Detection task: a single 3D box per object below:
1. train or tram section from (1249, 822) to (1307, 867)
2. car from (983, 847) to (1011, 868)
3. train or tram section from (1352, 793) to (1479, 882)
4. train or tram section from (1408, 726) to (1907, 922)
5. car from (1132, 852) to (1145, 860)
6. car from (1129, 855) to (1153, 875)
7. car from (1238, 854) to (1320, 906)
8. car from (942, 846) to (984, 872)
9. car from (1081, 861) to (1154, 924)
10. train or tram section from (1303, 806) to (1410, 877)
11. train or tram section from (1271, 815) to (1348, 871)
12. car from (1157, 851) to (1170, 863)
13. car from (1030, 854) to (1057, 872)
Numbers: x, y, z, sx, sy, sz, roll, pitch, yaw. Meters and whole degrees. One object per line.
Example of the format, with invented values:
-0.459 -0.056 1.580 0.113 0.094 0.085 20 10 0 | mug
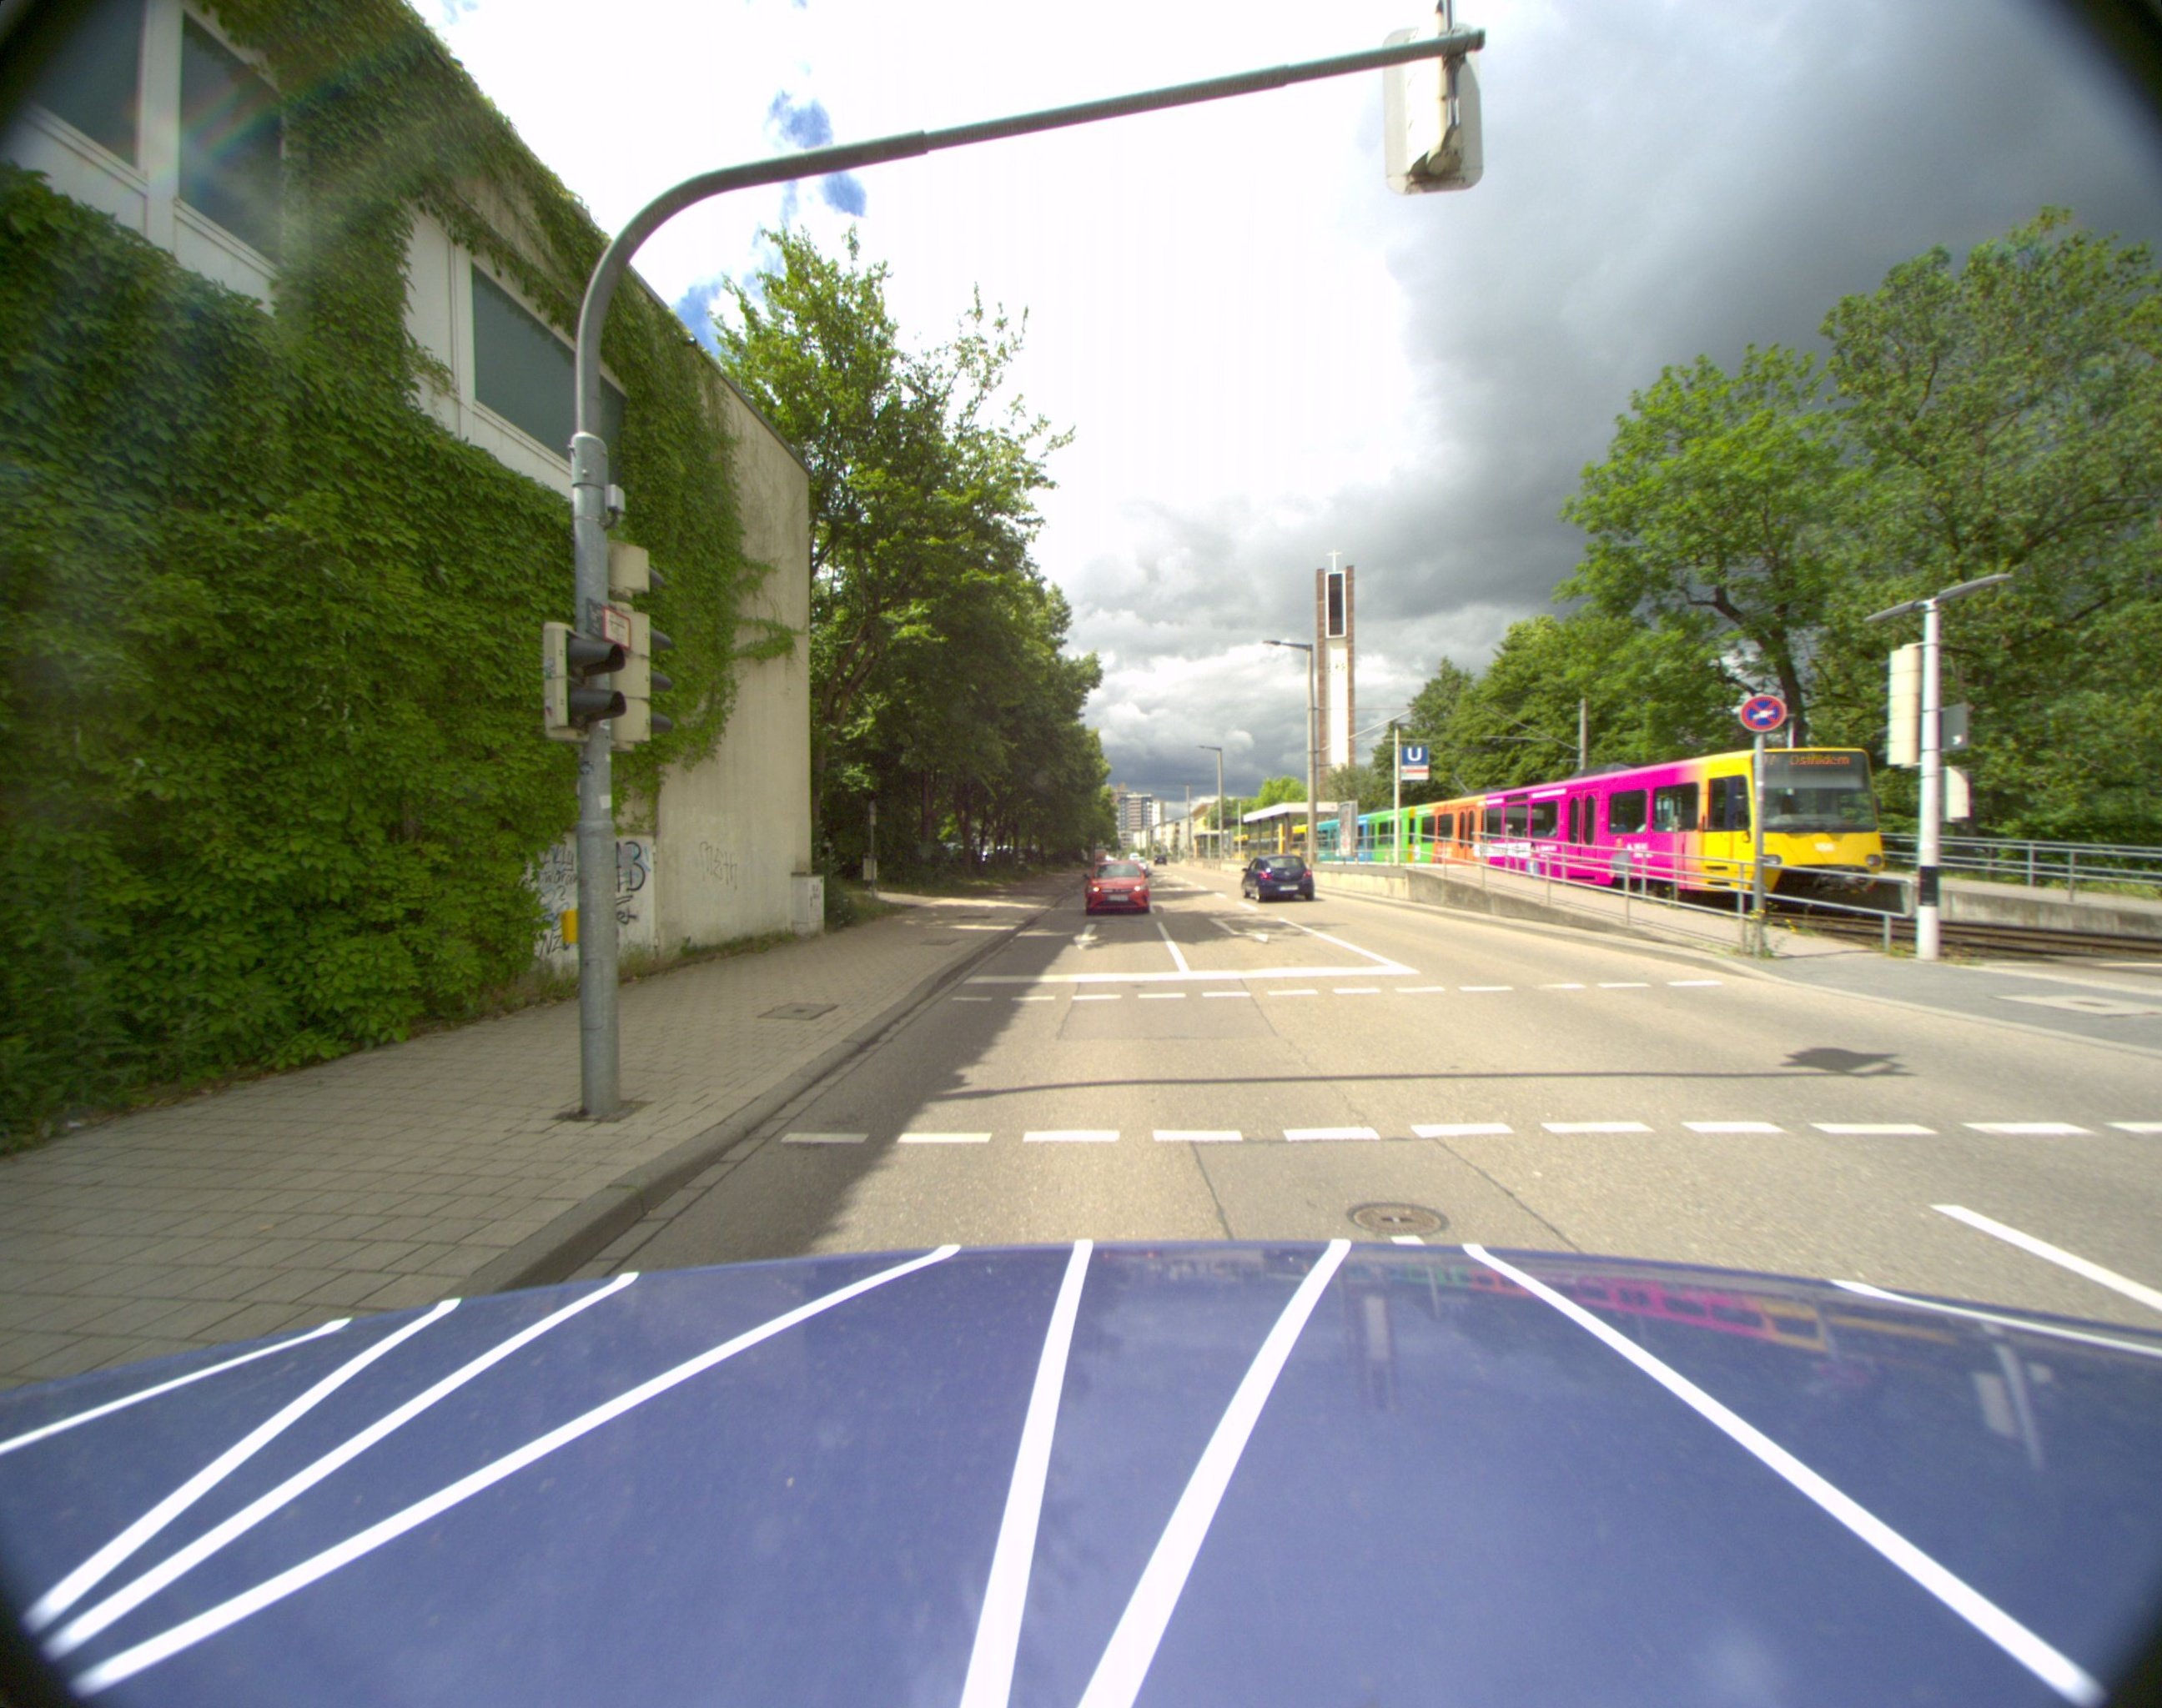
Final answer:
18.405 -0.867 71.770 2.987 3.840 11.109 -2 0 3 | train or tram section
-6.679 0.243 60.723 1.756 1.533 4.225 -2 1 -1 | car
16.407 -0.741 38.062 2.987 3.840 8.379 -2 0 3 | train or tram section
15.604 -0.653 24.599 2.987 3.840 18.541 -2 0 3 | train or tram section
10.728 0.302 142.150 1.821 1.433 4.008 -2 1 -2 | car
4.703 0.821 59.064 1.755 1.433 4.227 -2 1 5 | car
6.218 0.755 24.240 1.721 1.433 4.009 -2 1 3 | car
-7.389 0.280 48.035 1.755 1.533 3.677 -2 1 5 | car
1.082 0.966 20.749 1.755 1.433 4.227 -2 1 5 | car
17.045 -0.715 48.122 2.987 3.840 11.788 -2 0 3 | train or tram section
17.728 -0.792 60.077 2.987 3.840 12.203 -2 0 3 | train or tram section
11.663 0.372 107.350 1.755 1.603 4.227 -2 1 5 | car
-3.273 0.776 67.243 1.655 1.533 3.678 -2 1 9 | car
